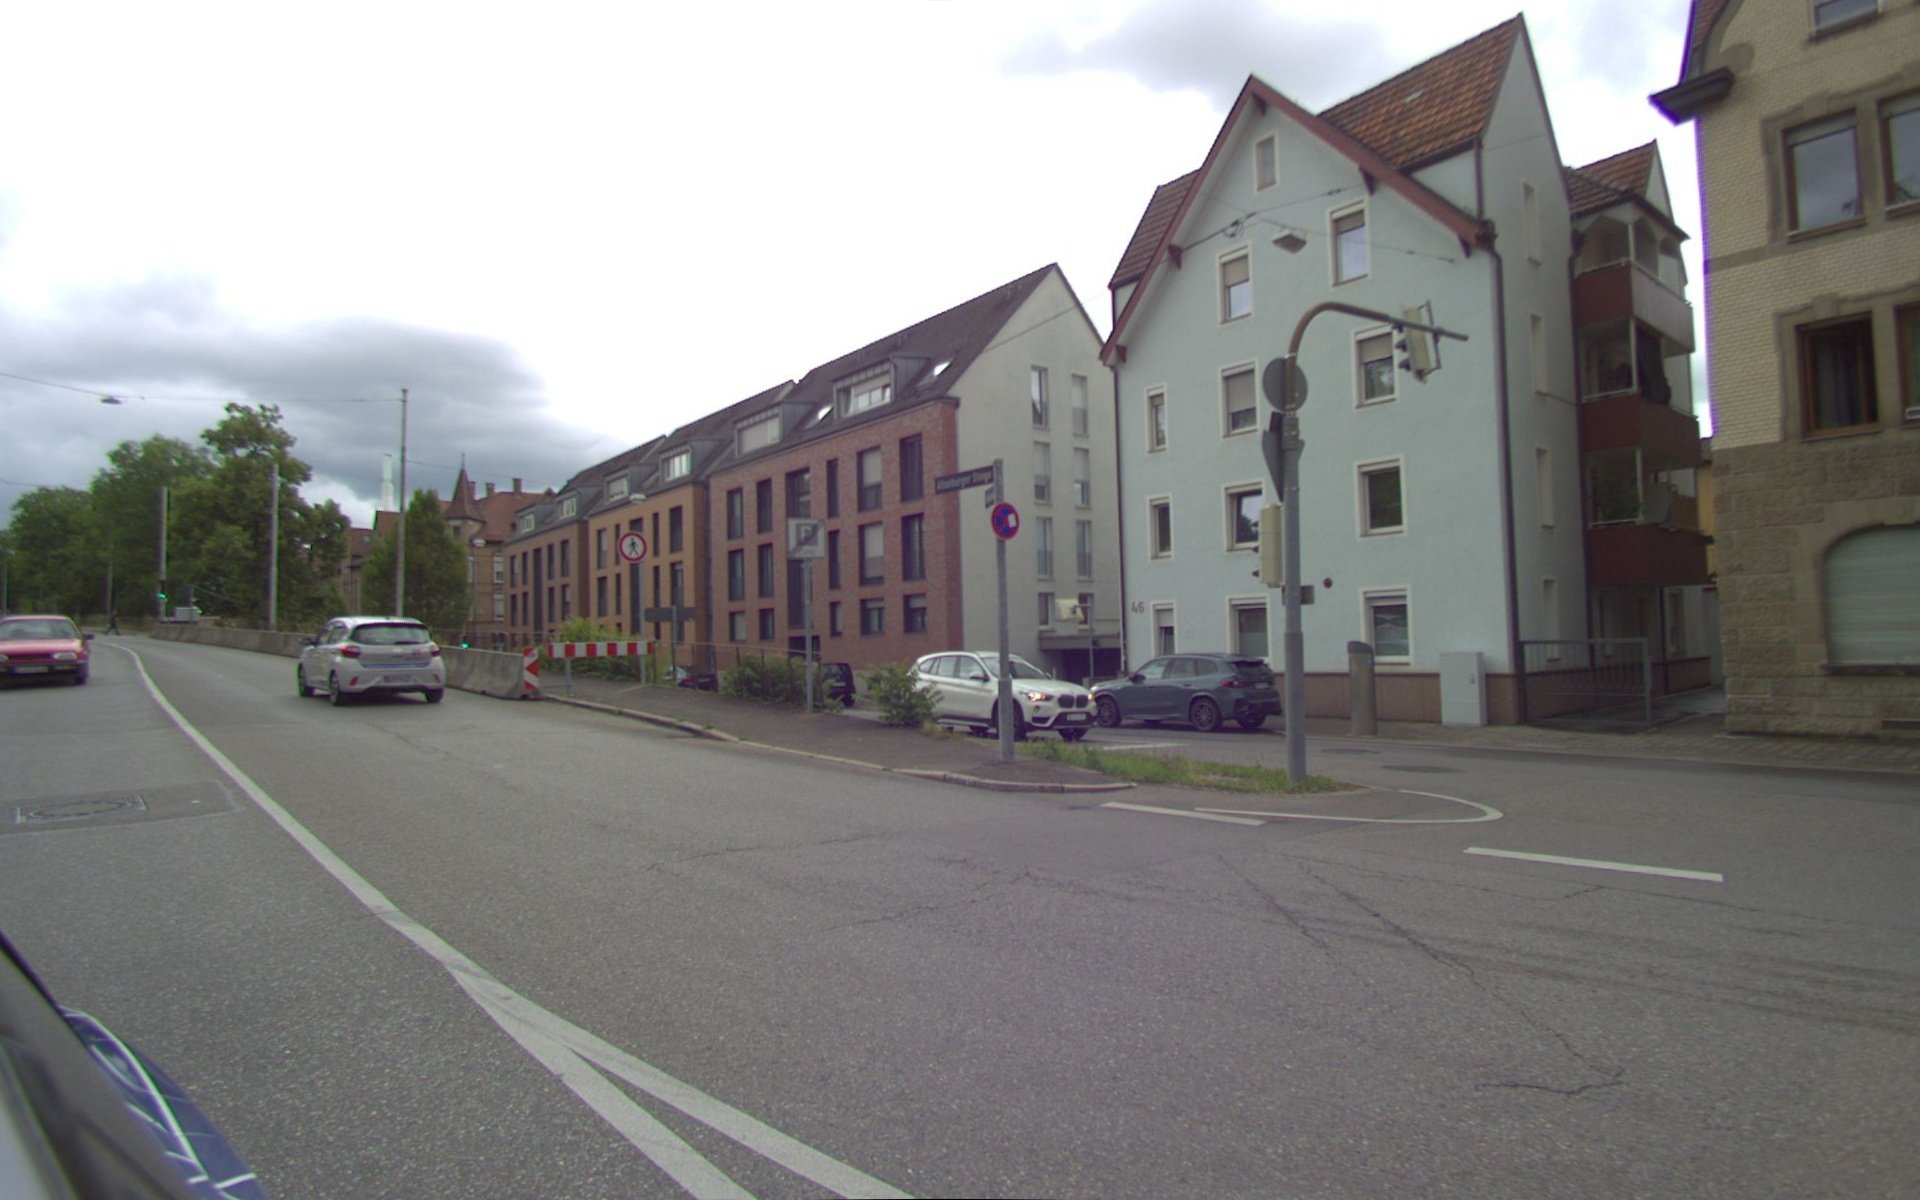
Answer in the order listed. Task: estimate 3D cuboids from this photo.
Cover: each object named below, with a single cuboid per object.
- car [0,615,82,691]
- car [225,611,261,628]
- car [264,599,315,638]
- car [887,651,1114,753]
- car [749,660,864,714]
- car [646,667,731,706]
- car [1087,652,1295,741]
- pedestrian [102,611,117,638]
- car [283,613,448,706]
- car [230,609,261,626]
[{"bbox_3d":[-19.403,1.057,20.972,1.623,1.449,4.003,1,-2,-44],"label":"car"},{"bbox_3d":[-58.677,1.599,82.796,1.969,1.364,4.006,2,-2,-41],"label":"car"},{"bbox_3d":[-48.268,1.282,72.759,2.526,2.601,5.747,-1,1,-39],"label":"car"},{"bbox_3d":[0.638,1.824,19.225,1.805,1.525,4.431,0,-1,-40],"label":"car"},{"bbox_3d":[-5.325,2.943,34.895,1.970,1.675,4.003,3,-4,-44],"label":"car"},{"bbox_3d":[-11.713,3.675,43.507,1.969,1.497,4.006,3,-4,-41],"label":"car"},{"bbox_3d":[4.893,2.004,21.919,1.661,1.567,4.240,0,-1,-41],"label":"car"},{"bbox_3d":[-54.640,1.578,65.008,0.724,1.725,0.697,0,-1,-39],"label":"pedestrian"},{"bbox_3d":[-10.665,1.068,18.059,1.650,1.479,3.646,5,-5,-44],"label":"car"},{"bbox_3d":[-67.806,1.679,95.978,1.969,1.564,4.005,-1,-1,-41],"label":"car"}]
